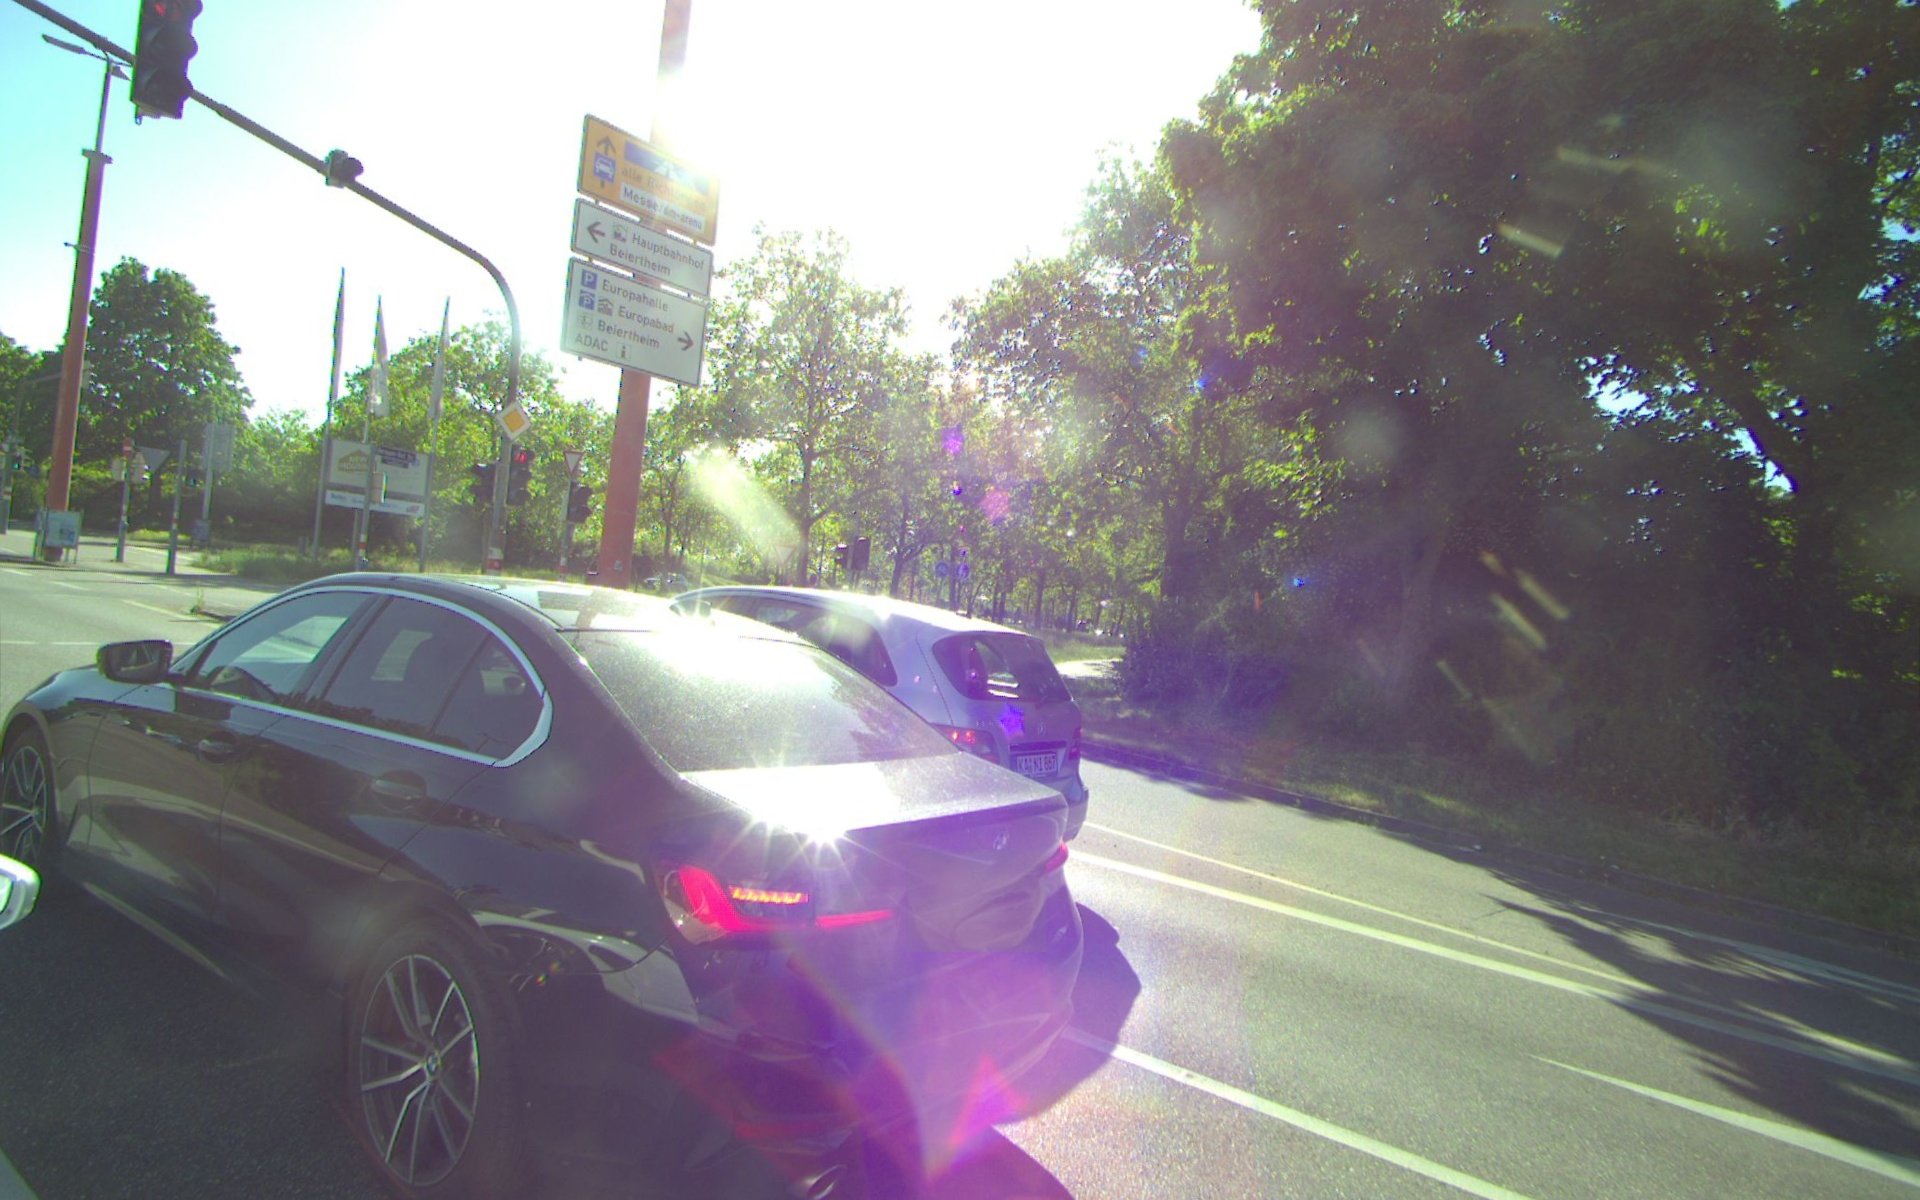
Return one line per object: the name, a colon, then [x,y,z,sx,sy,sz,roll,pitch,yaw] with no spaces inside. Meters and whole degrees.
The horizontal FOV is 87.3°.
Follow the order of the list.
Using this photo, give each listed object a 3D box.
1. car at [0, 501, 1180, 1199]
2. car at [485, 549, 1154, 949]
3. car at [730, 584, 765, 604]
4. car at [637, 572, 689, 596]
car: [-1.692,0.580,3.629,4.371,1.415,1.871,7,0,33]
car: [-1.019,0.708,6.485,3.963,1.597,1.741,7,0,33]
car: [-19.718,-0.529,93.491,1.652,1.485,3.998,7,-1,12]
car: [-23.512,-1.254,79.820,1.751,1.503,4.332,7,-1,16]
